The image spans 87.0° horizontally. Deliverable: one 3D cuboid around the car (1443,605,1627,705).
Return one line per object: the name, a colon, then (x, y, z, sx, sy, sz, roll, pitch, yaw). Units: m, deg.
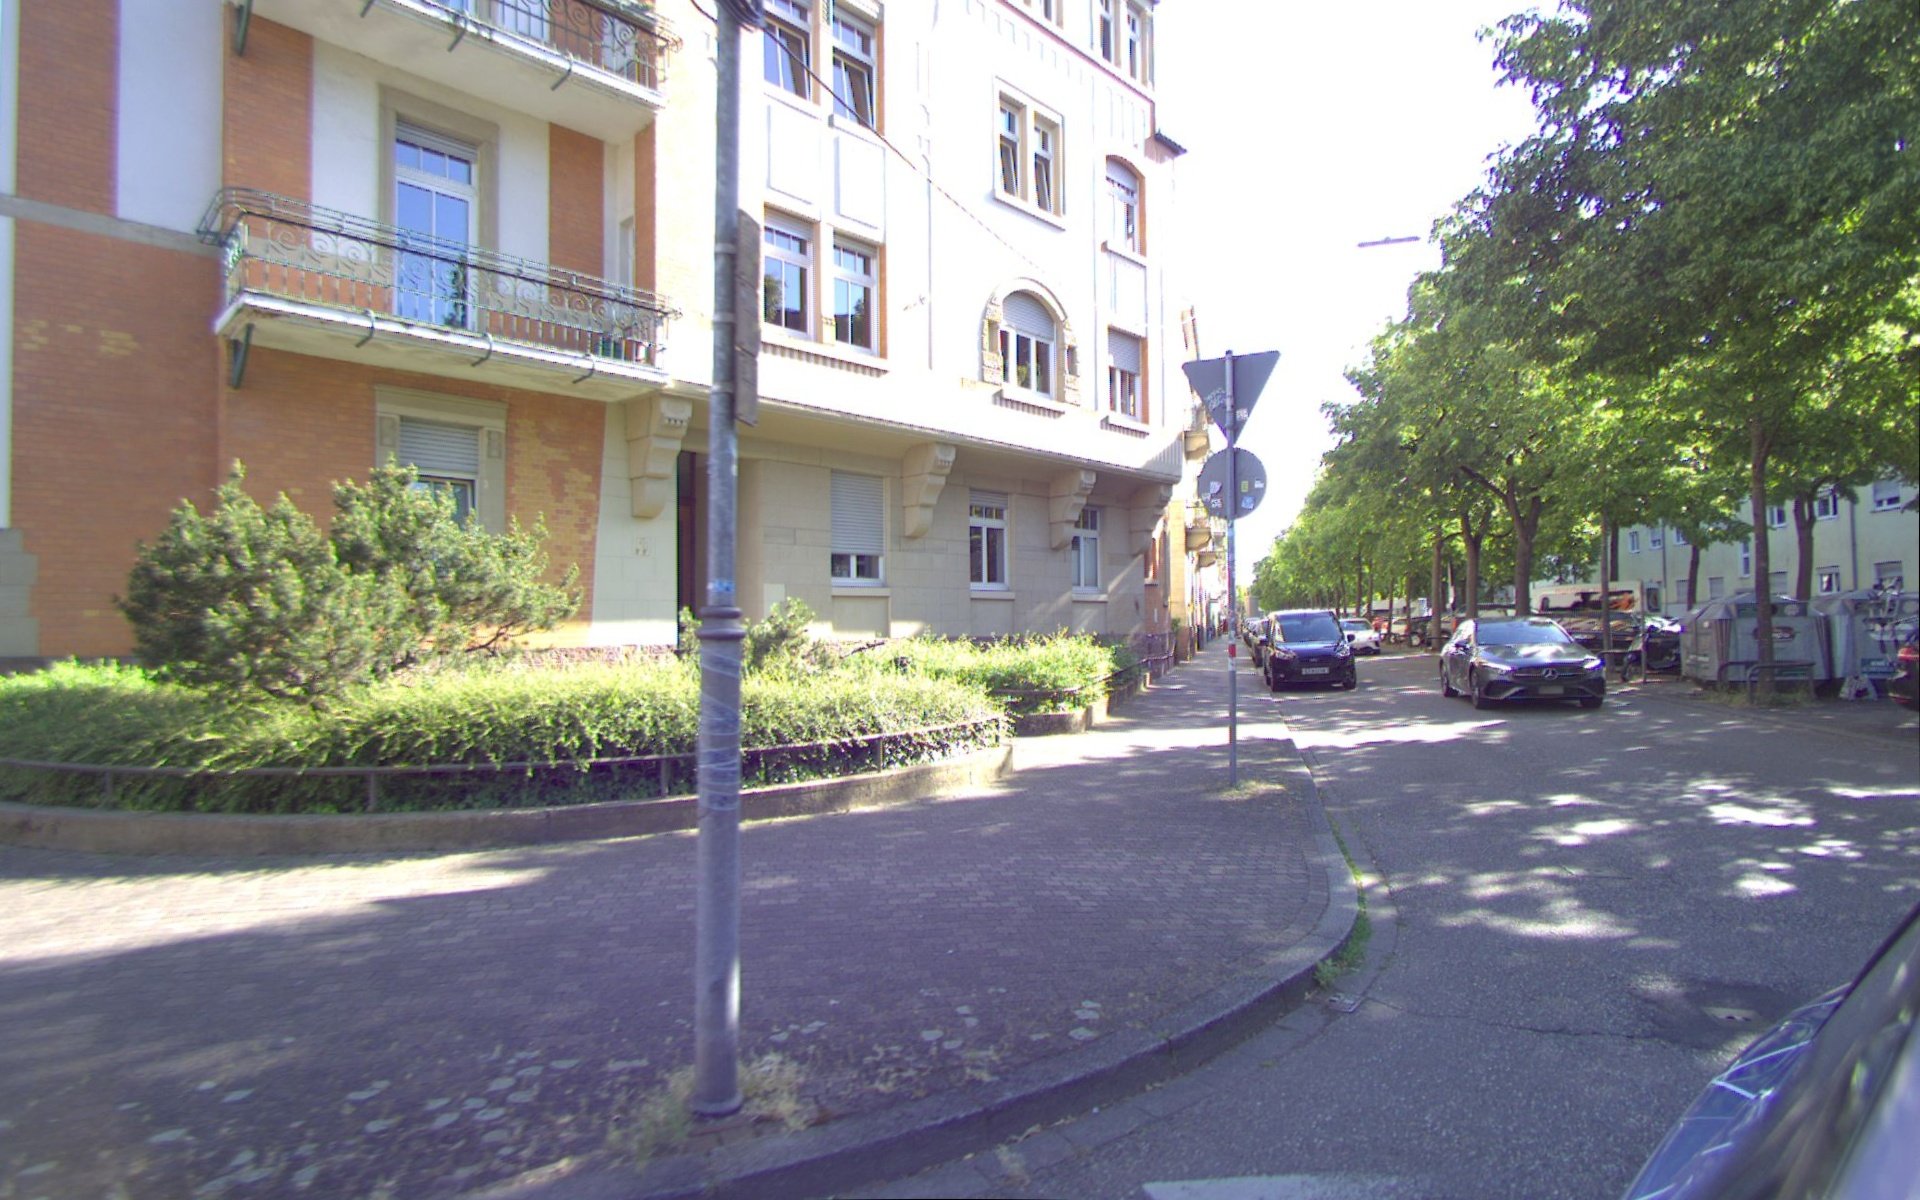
car: (9.385, 0.861, 16.884, 1.774, 1.454, 4.184, -2, -2, 18)

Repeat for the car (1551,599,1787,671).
car: (15.892, 0.759, 22.875, 1.789, 1.460, 3.999, 0, -2, -35)

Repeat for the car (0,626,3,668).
car: (-33.398, 1.616, 33.566, 1.727, 1.475, 3.955, 0, -1, -34)

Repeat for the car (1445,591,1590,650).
car: (19.318, 0.705, 35.216, 1.789, 1.923, 3.999, 1, -2, -35)

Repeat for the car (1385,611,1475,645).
car: (25.064, 1.483, 54.029, 3.982, 1.708, 1.796, -2, -2, 41)

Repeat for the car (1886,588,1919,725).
car: (12.078, 0.581, 10.002, 1.725, 1.492, 4.000, 1, -2, -33)

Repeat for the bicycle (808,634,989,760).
bicycle: (-0.663, 0.930, 10.339, 1.935, 1.135, 0.678, -1, -1, 41)

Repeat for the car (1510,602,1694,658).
car: (18.092, 0.833, 28.675, 1.789, 1.472, 3.999, 0, -2, -35)

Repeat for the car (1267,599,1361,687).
car: (8.081, 0.961, 23.365, 1.774, 1.790, 4.184, -3, -2, 17)

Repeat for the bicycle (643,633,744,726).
bicycle: (-3.439, 0.986, 12.993, 0.492, 1.085, 1.670, 1, -2, -44)

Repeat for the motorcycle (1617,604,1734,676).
motorcycle: (14.155, 0.783, 20.046, 1.765, 1.365, 0.728, -1, -2, -1)

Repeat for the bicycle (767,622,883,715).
bicycle: (-1.933, 0.932, 14.333, 1.792, 1.227, 0.586, -1, -1, 40)

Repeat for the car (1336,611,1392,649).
car: (16.535, 1.231, 41.578, 1.774, 1.454, 4.184, -2, -2, 18)

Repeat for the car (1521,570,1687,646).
car: (22.839, 0.319, 36.034, 1.951, 2.523, 4.587, 1, -2, -40)

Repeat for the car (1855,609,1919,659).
car: (29.289, 0.996, 30.248, 2.015, 1.457, 4.365, -1, -1, 16)

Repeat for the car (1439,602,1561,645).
car: (21.853, 0.936, 41.074, 1.789, 1.655, 3.999, 0, -2, -35)
